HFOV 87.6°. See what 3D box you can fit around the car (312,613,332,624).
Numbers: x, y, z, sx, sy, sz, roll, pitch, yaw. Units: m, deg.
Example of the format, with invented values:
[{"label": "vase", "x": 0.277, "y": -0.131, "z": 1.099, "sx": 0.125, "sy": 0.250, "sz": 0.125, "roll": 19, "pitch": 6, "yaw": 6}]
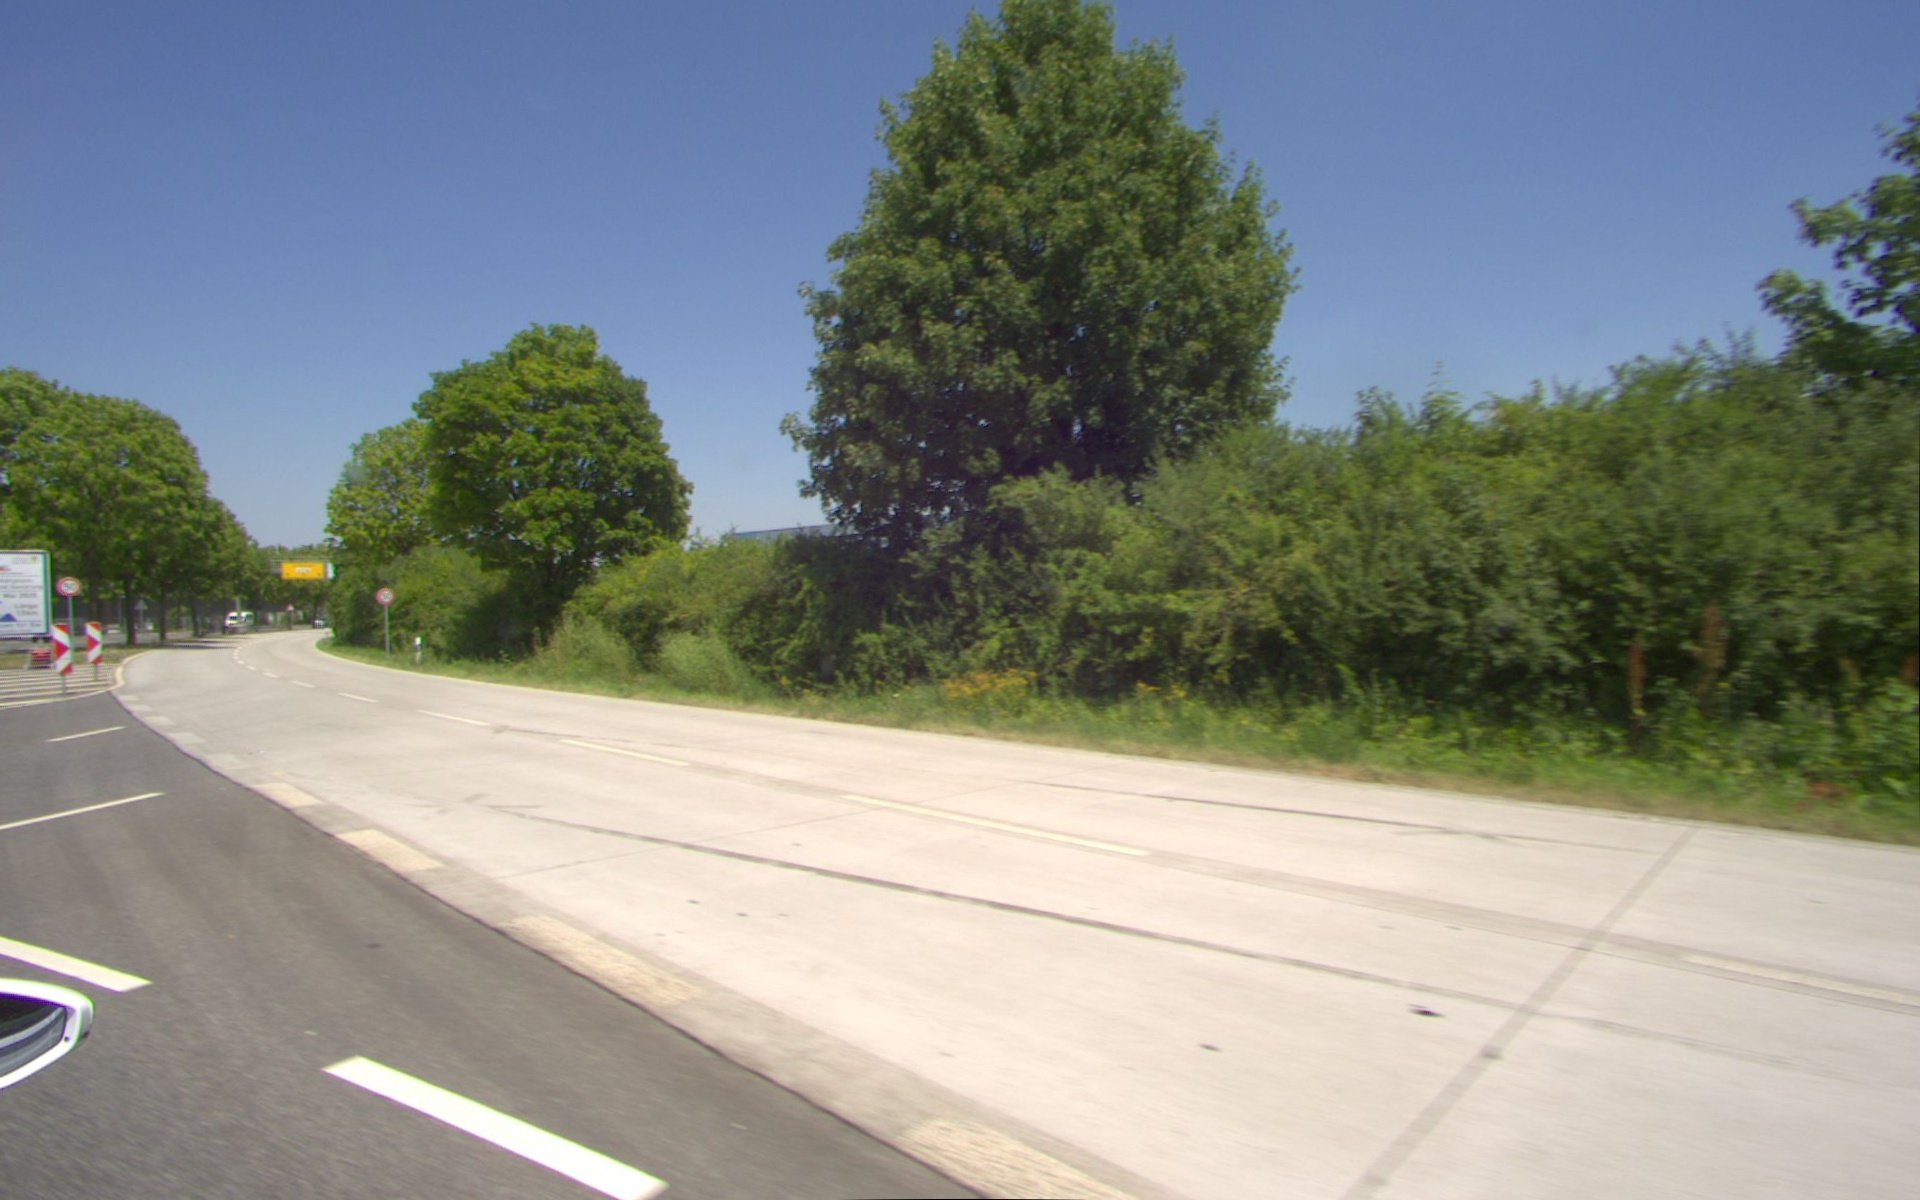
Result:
[{"label": "car", "x": -102.552, "y": 3.012, "z": 160.992, "sx": 1.707, "sy": 1.683, "sz": 3.991, "roll": 0, "pitch": -1, "yaw": -19}]
